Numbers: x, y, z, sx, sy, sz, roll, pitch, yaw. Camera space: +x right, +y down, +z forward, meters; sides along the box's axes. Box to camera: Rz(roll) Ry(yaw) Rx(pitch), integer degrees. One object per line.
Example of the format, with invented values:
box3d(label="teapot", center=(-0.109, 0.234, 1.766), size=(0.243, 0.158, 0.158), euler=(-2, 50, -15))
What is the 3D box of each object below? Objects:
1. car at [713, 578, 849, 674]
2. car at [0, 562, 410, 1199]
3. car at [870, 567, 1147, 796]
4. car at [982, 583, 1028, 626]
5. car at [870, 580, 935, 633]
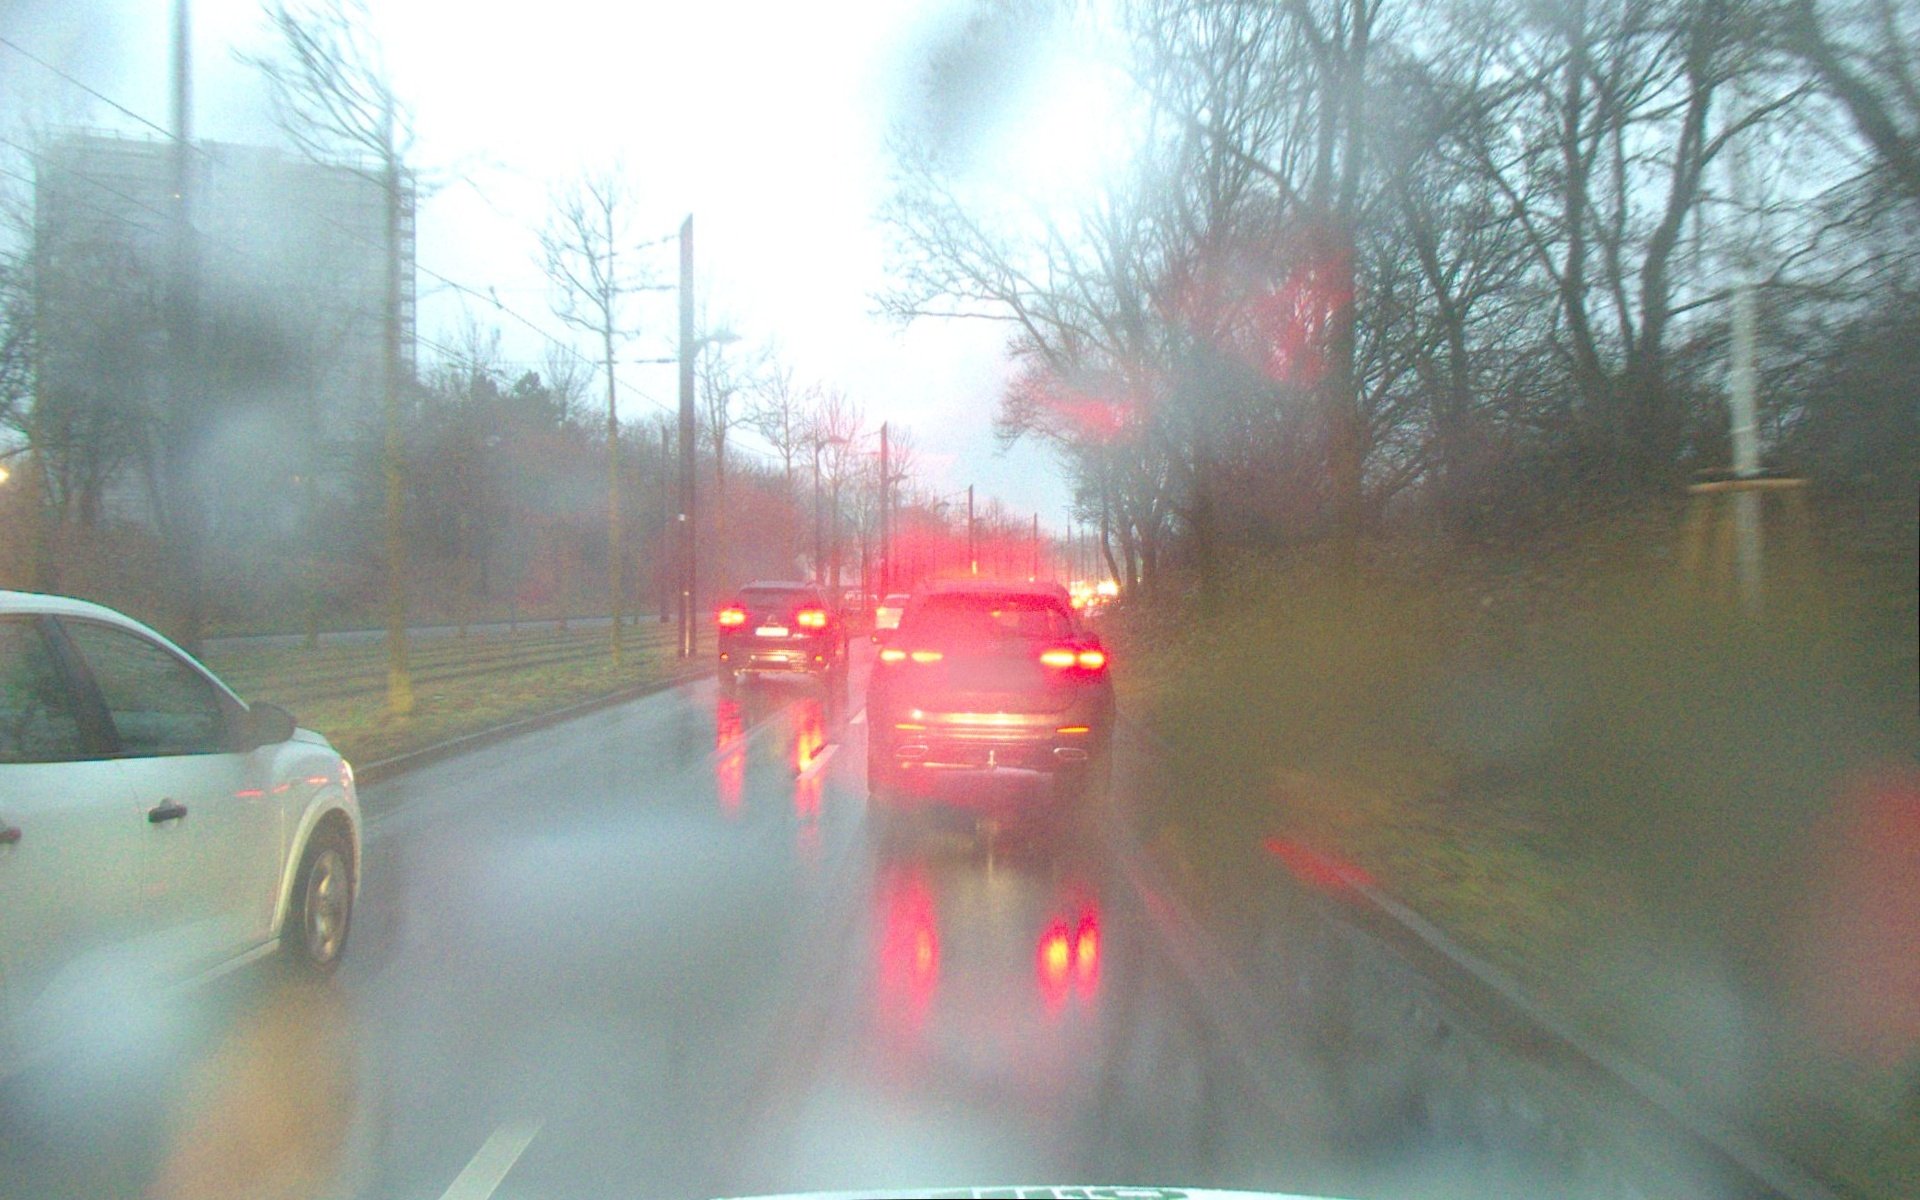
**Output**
box3d(label="car", center=(-2.909, 0.374, 27.652), size=(1.841, 1.485, 4.000), euler=(0, 1, 0))
box3d(label="car", center=(-3.105, 0.683, 4.819), size=(1.674, 1.551, 4.134), euler=(0, 0, -1))
box3d(label="car", center=(0.287, 0.559, 13.772), size=(1.958, 1.612, 3.999), euler=(1, 1, -2))
box3d(label="car", center=(1.680, 0.154, 62.354), size=(1.673, 1.585, 3.996), euler=(0, 0, 1))
box3d(label="car", center=(-1.820, 0.168, 53.253), size=(1.841, 1.621, 4.001), euler=(0, 1, 1))
